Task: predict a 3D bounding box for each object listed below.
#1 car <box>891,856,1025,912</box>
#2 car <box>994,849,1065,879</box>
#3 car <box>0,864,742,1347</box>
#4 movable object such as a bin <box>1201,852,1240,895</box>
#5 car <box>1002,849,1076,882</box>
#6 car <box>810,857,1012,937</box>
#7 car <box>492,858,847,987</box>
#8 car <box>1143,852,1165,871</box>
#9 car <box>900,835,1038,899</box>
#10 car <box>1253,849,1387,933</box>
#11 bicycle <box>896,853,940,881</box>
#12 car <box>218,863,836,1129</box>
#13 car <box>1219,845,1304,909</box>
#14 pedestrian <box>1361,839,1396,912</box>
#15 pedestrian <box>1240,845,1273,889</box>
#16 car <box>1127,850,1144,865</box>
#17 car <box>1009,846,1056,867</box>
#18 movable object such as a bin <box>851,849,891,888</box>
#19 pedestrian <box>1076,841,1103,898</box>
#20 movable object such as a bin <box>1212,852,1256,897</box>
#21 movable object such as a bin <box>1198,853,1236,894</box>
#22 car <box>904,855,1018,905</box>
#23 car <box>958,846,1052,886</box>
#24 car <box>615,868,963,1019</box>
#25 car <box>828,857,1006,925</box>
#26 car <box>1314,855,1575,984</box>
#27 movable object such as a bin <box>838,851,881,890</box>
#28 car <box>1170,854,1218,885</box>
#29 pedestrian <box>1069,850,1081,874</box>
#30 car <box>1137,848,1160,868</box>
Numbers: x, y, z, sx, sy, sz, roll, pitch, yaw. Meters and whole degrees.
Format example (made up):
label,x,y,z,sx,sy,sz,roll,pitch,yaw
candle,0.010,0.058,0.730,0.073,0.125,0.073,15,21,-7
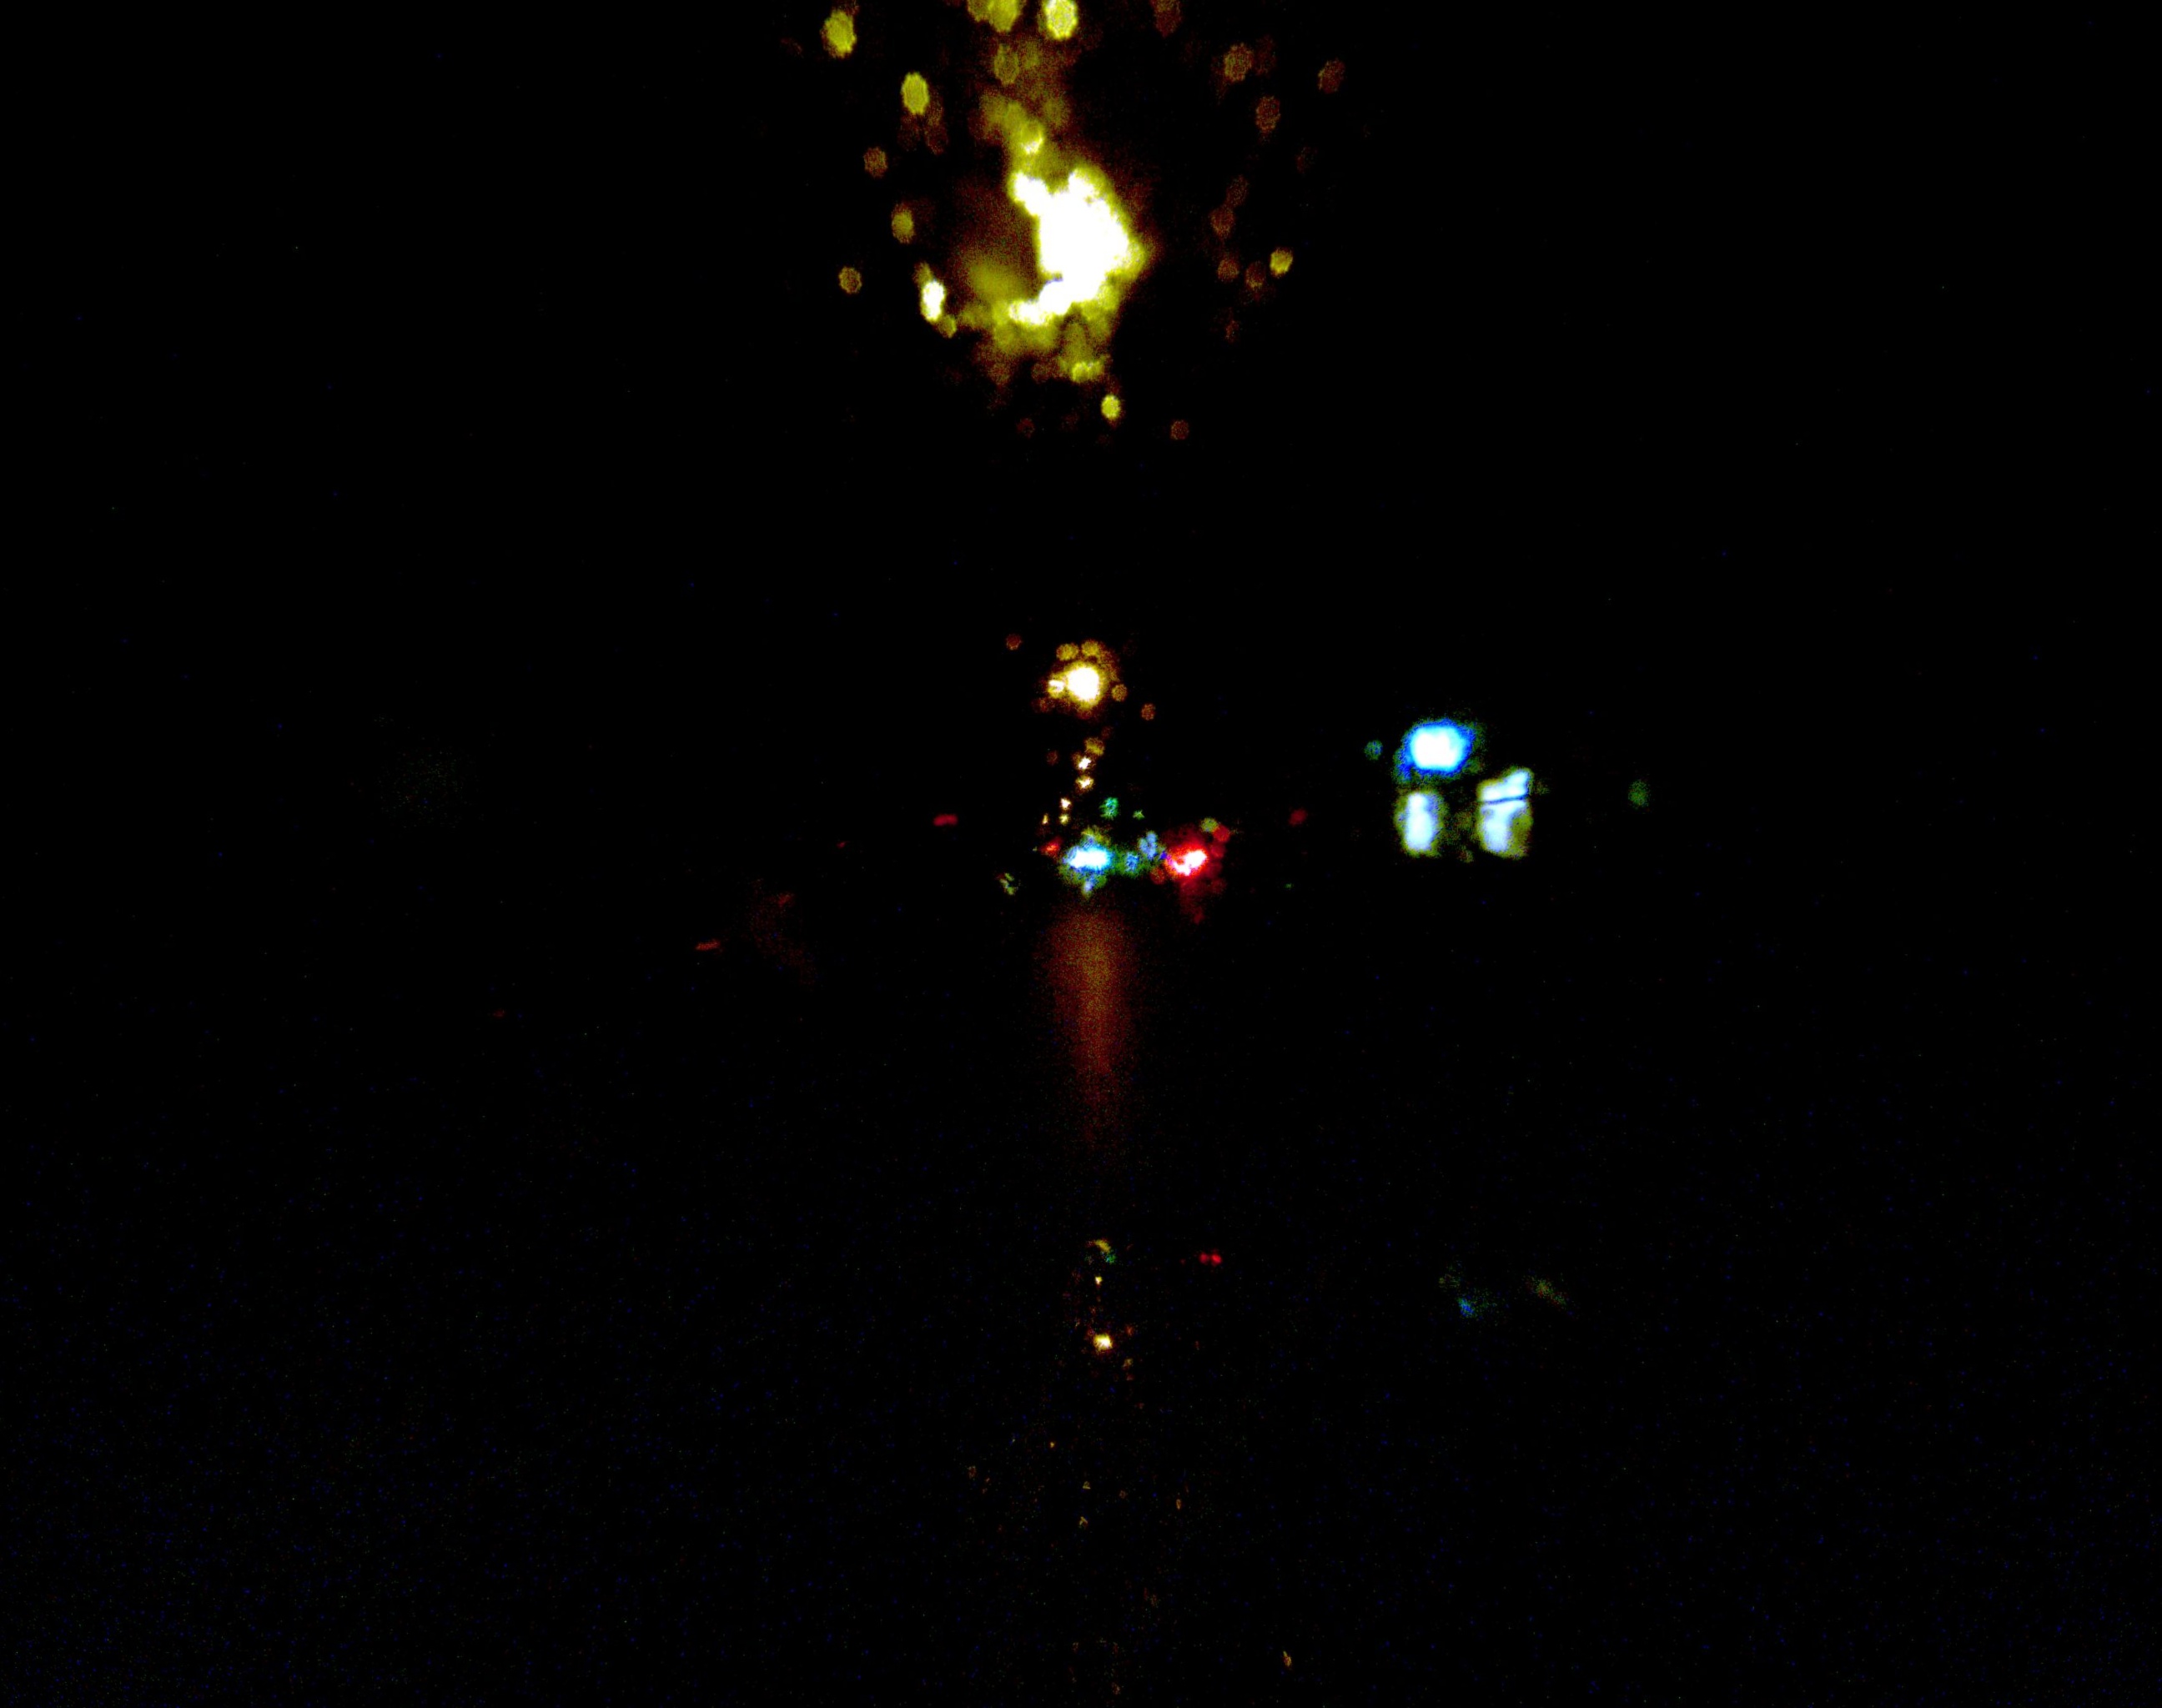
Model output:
label,x,y,z,sx,sy,sz,roll,pitch,yaw
car,-3.657,0.835,22.721,3.659,1.533,1.556,0,1,-29
car,-3.272,0.644,48.443,4.112,1.754,1.855,-2,1,-27
car,-3.729,0.873,3.495,3.660,1.571,1.588,-1,0,-38
movable object such as a bin,4.979,0.685,27.201,1.167,1.451,1.107,-2,1,3
car,-2.385,0.652,43.490,3.809,1.718,1.737,-2,1,-31
car,-3.748,0.861,16.924,4.007,1.543,1.799,0,1,-34
car,-5.497,0.828,10.484,4.008,1.443,1.684,1,0,-33
car,5.952,0.555,62.098,1.550,1.434,3.563,-3,0,2
car,-4.124,0.441,28.346,4.734,2.235,1.941,0,1,-35
car,4.978,0.705,16.373,1.607,1.543,4.025,-2,0,0
bicycle,-8.209,0.645,38.280,1.975,1.327,0.783,2,1,7
car,-4.065,0.899,6.260,3.659,1.571,1.589,-1,0,-27
car,5.169,0.602,22.211,1.607,1.696,3.721,-1,0,0
pedestrian,7.335,0.518,18.744,0.641,1.771,0.549,0,1,1
pedestrian,7.146,0.534,30.996,1.135,1.772,0.788,-1,1,1
car,6.307,0.402,87.137,1.816,1.660,4.413,-1,0,6
car,-5.480,0.239,86.345,4.951,2.327,2.226,0,1,-34
movable object such as a bin,-8.329,0.573,30.200,1.212,1.443,0.998,4,1,1
pedestrian,0.297,0.555,27.127,0.645,2.002,0.676,1,0,-30
movable object such as a bin,5.212,0.692,26.020,1.265,1.451,1.151,-2,1,3
movable object such as a bin,5.059,0.700,28.376,1.211,1.451,1.107,-2,1,3
car,-4.003,0.814,25.512,3.407,1.533,1.573,0,1,-35
car,-3.684,0.582,37.307,4.256,1.848,1.712,1,1,-35
car,-3.477,0.920,9.270,3.691,1.452,1.600,0,1,-34
car,-4.176,0.864,19.526,4.008,1.543,1.994,0,1,-37
car,4.879,0.770,10.977,1.690,1.447,4.315,-2,0,0
movable object such as a bin,-8.436,0.624,28.979,1.258,1.364,0.998,4,1,1
car,5.302,0.712,36.157,1.658,1.351,4.222,-1,0,0
pedestrian,-0.446,0.599,56.330,0.824,1.760,1.177,0,1,0
car,6.292,0.329,71.581,1.871,1.835,4.827,0,0,1
